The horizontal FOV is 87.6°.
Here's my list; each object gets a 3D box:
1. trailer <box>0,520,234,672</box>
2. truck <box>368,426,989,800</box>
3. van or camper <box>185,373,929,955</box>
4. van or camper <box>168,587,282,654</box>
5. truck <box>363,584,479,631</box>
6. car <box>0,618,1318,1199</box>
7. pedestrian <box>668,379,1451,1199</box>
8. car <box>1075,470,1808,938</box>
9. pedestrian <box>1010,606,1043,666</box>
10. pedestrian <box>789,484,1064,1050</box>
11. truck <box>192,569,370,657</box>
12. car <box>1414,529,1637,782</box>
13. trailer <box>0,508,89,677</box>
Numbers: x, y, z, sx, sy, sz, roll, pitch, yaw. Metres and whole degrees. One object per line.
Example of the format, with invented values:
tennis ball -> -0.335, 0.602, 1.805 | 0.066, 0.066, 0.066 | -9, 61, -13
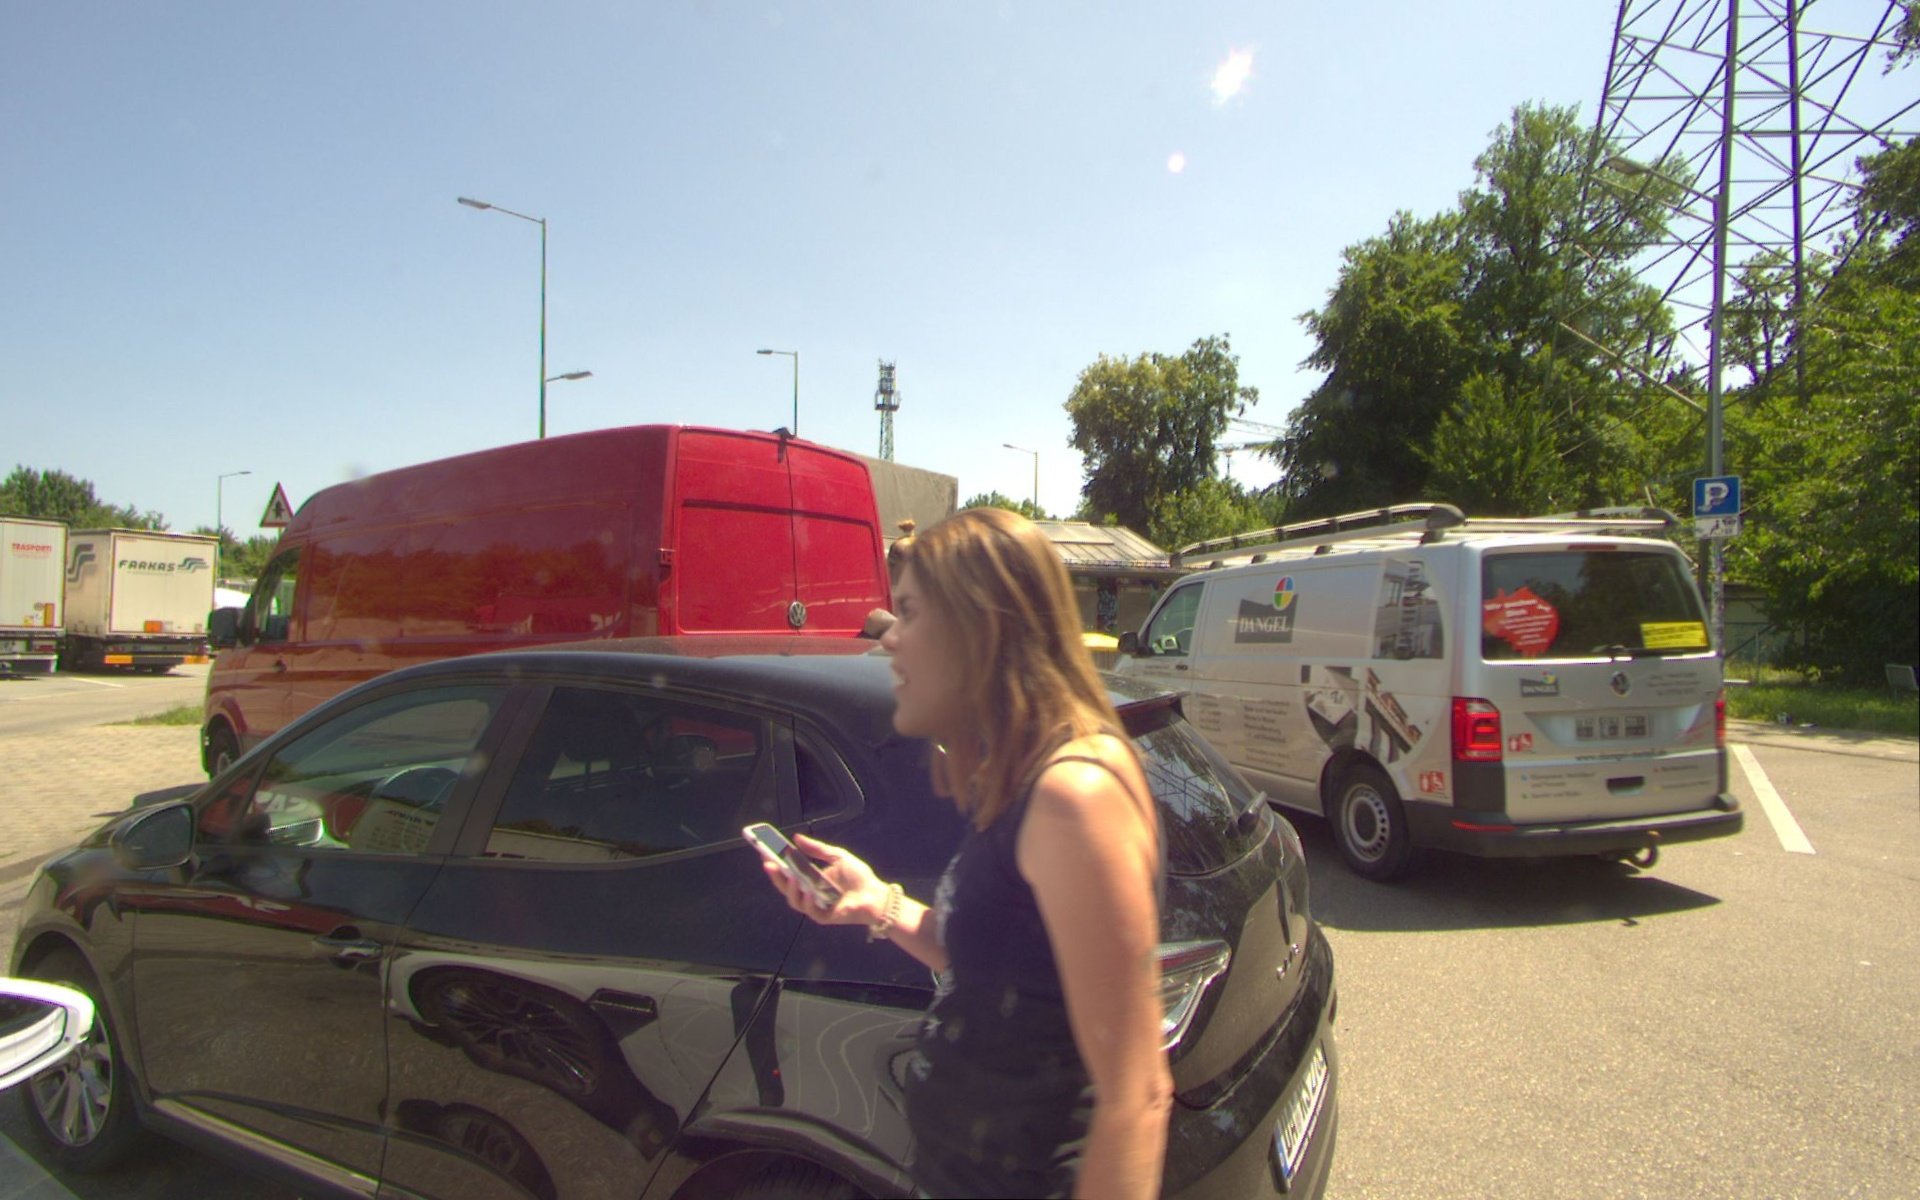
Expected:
trailer -> -27.283, -0.199, 31.450 | 12.255, 4.090, 2.862 | 2, -1, 33
truck -> -3.251, 0.131, 10.543 | 6.874, 2.828, 2.460 | 0, -1, 35
van or camper -> -3.356, 0.322, 7.337 | 6.394, 2.688, 1.990 | 0, -1, 36
van or camper -> -30.399, 0.822, 41.372 | 5.296, 2.595, 2.100 | 0, -1, 34
truck -> -34.709, 0.472, 64.265 | 9.637, 2.857, 2.121 | 0, -1, 33
car -> -1.050, 0.832, 2.830 | 3.706, 1.503, 1.615 | 0, -1, 27
pedestrian -> 0.072, 0.656, 1.167 | 0.640, 1.606, 0.650 | 1, -1, -33
car -> 2.756, 0.522, 7.486 | 1.964, 2.178, 5.306 | -1, -1, -15
pedestrian -> 1.833, 0.980, 27.712 | 0.751, 1.629, 0.756 | 1, 0, -6
pedestrian -> -0.120, 0.574, 3.761 | 0.899, 1.896, 0.774 | 1, 0, -1
truck -> -31.680, 0.509, 46.463 | 11.255, 3.615, 2.484 | 2, -1, 33
car -> 6.550, 0.566, 11.543 | 1.892, 2.354, 4.074 | -1, -1, 32
trailer -> -28.343, -0.329, 27.786 | 12.255, 4.090, 2.862 | 2, -1, 33
